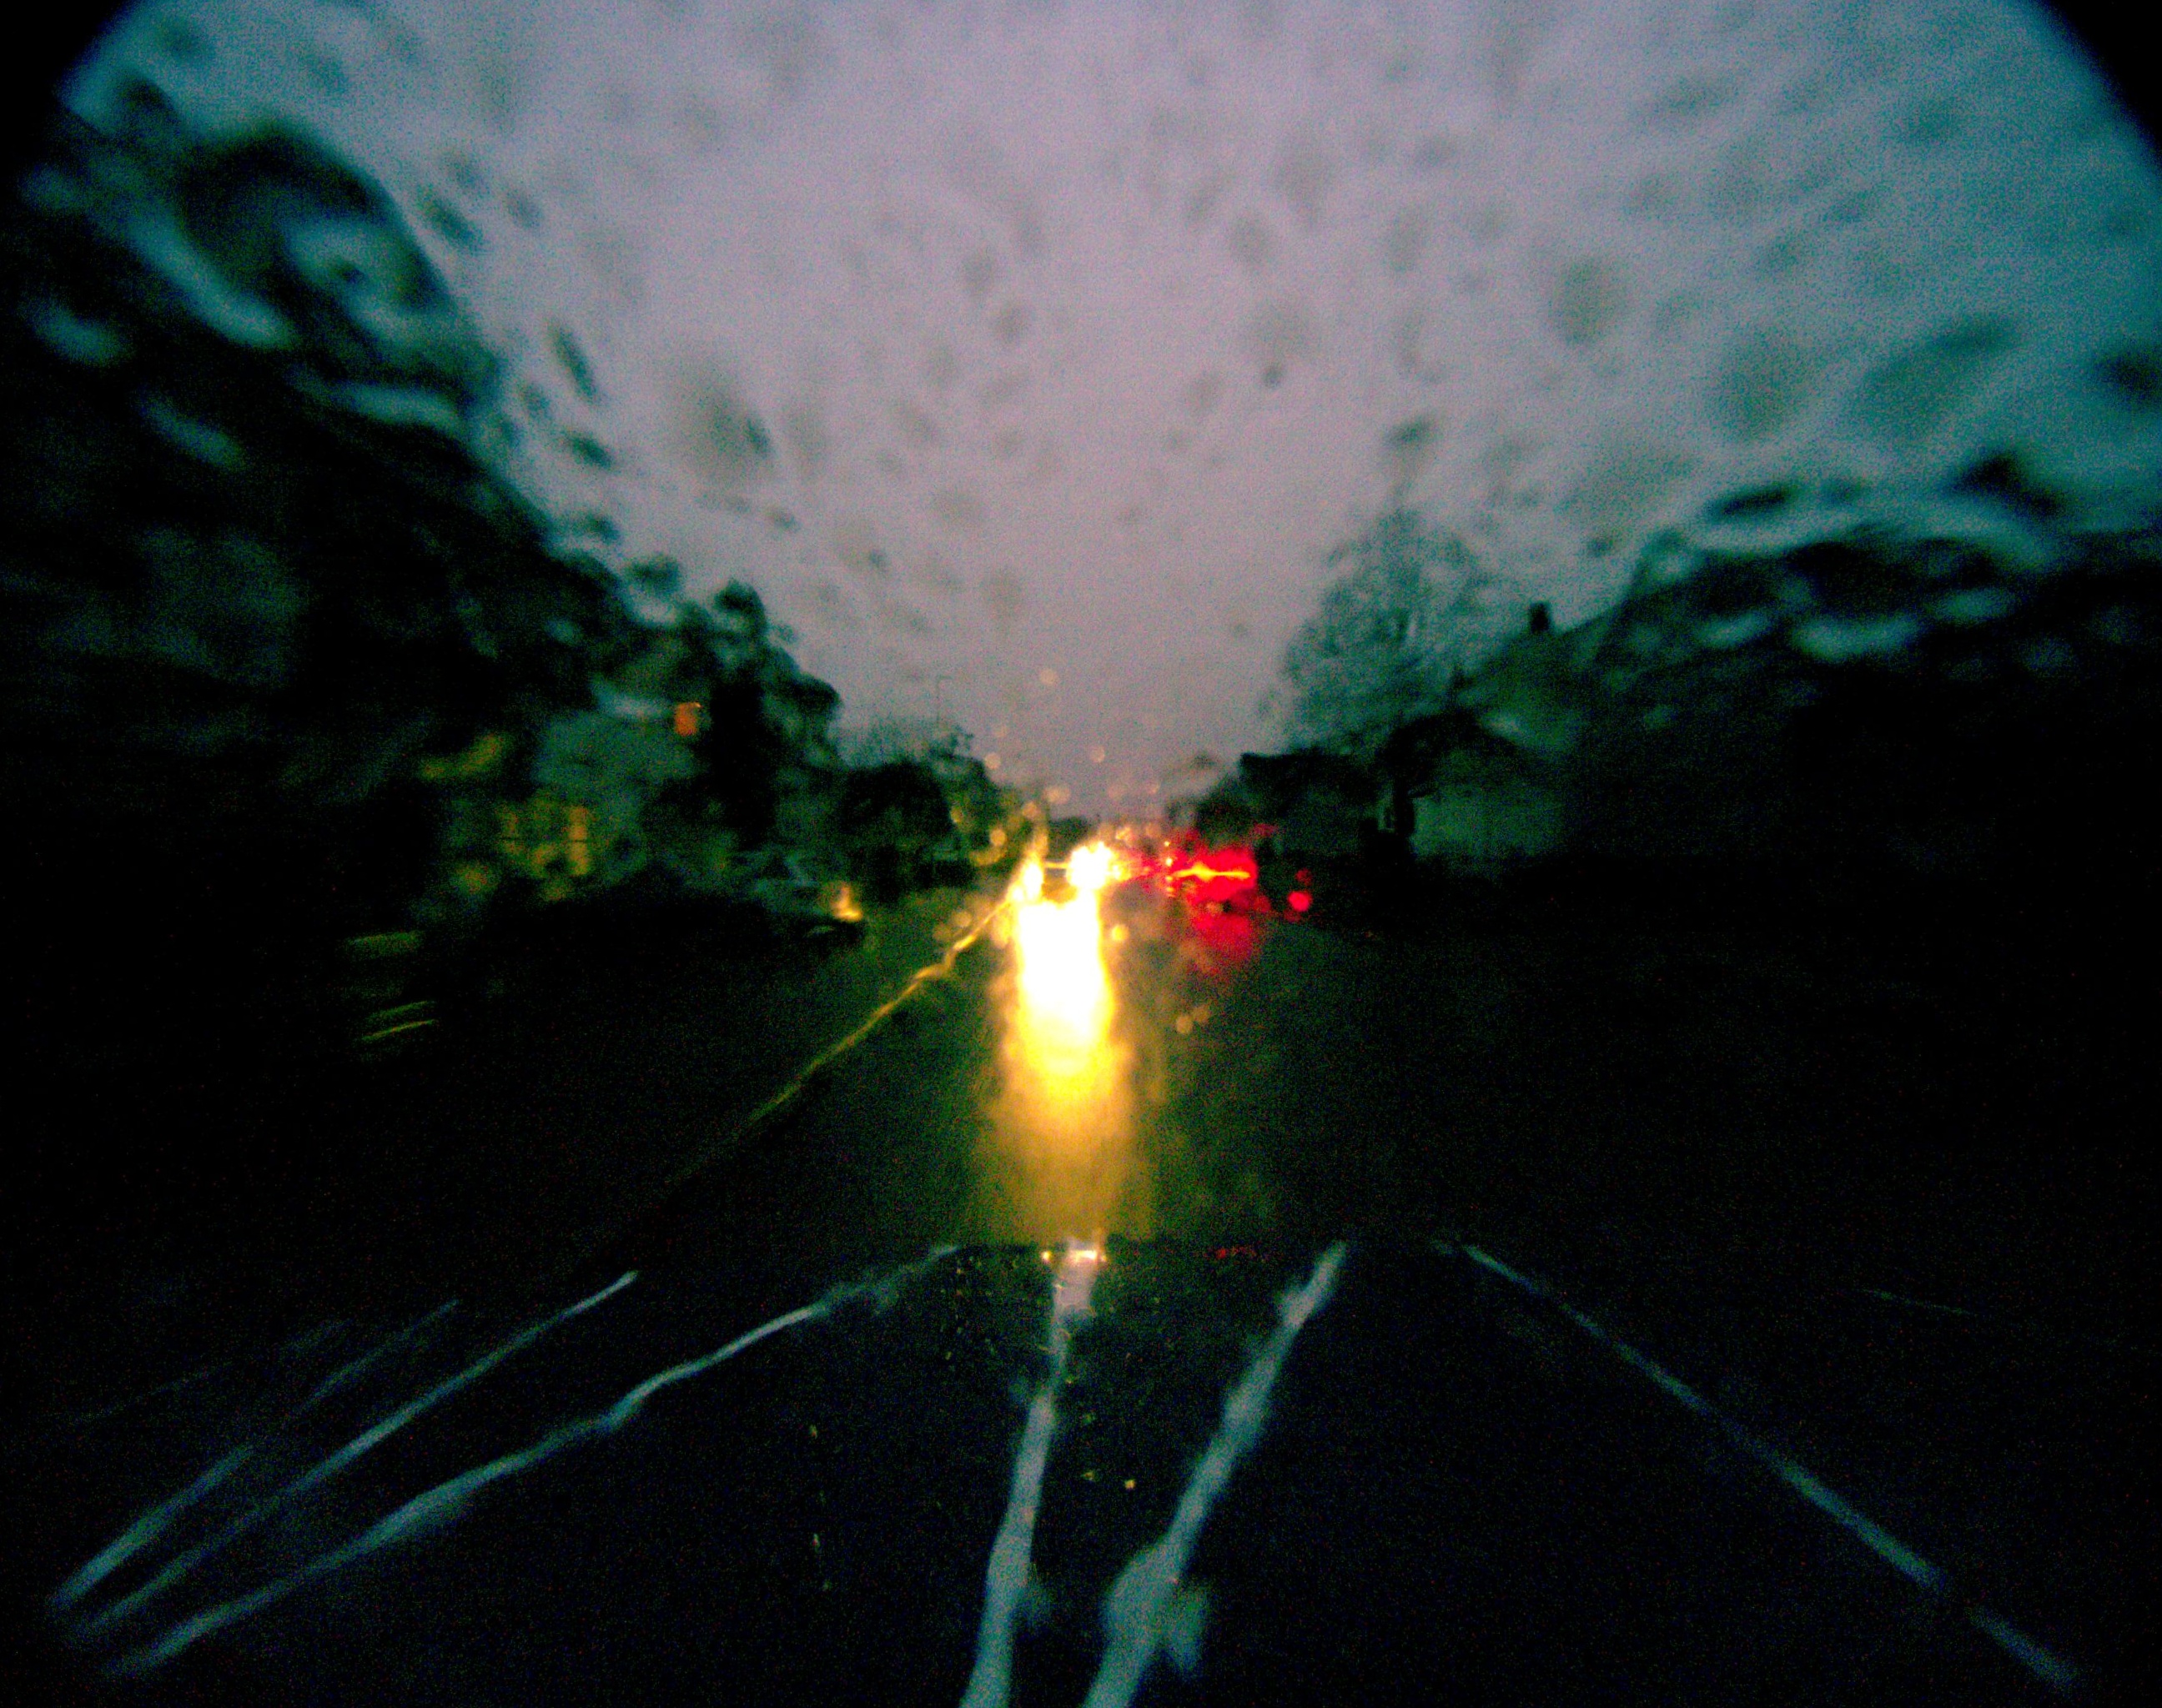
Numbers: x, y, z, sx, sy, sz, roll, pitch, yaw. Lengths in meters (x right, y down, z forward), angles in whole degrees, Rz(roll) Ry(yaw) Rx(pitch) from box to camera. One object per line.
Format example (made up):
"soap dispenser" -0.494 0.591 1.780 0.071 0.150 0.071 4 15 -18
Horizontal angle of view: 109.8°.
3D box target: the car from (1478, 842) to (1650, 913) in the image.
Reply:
"car" 13.166 0.562 21.127 1.998 1.745 4.568 0 0 2

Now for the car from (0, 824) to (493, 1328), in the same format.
"car" -5.580 0.729 3.515 4.112 1.696 1.999 0 1 0

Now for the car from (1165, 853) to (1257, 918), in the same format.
"car" 3.515 0.800 21.314 1.818 1.623 4.224 1 0 0

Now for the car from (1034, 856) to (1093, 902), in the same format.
"car" -0.616 0.851 27.959 1.999 1.575 3.999 0 0 -1

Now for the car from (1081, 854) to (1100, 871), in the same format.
"car" 1.018 0.821 77.976 1.775 1.608 3.873 -2 1 3

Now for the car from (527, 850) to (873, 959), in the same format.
"car" -6.059 0.754 12.467 4.744 1.620 1.907 0 0 3

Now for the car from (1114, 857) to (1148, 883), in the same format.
"car" 2.873 0.897 44.427 1.708 1.433 4.424 1 0 0

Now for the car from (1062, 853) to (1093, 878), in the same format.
"car" -0.222 0.774 53.458 1.998 1.660 4.000 -1 0 2
